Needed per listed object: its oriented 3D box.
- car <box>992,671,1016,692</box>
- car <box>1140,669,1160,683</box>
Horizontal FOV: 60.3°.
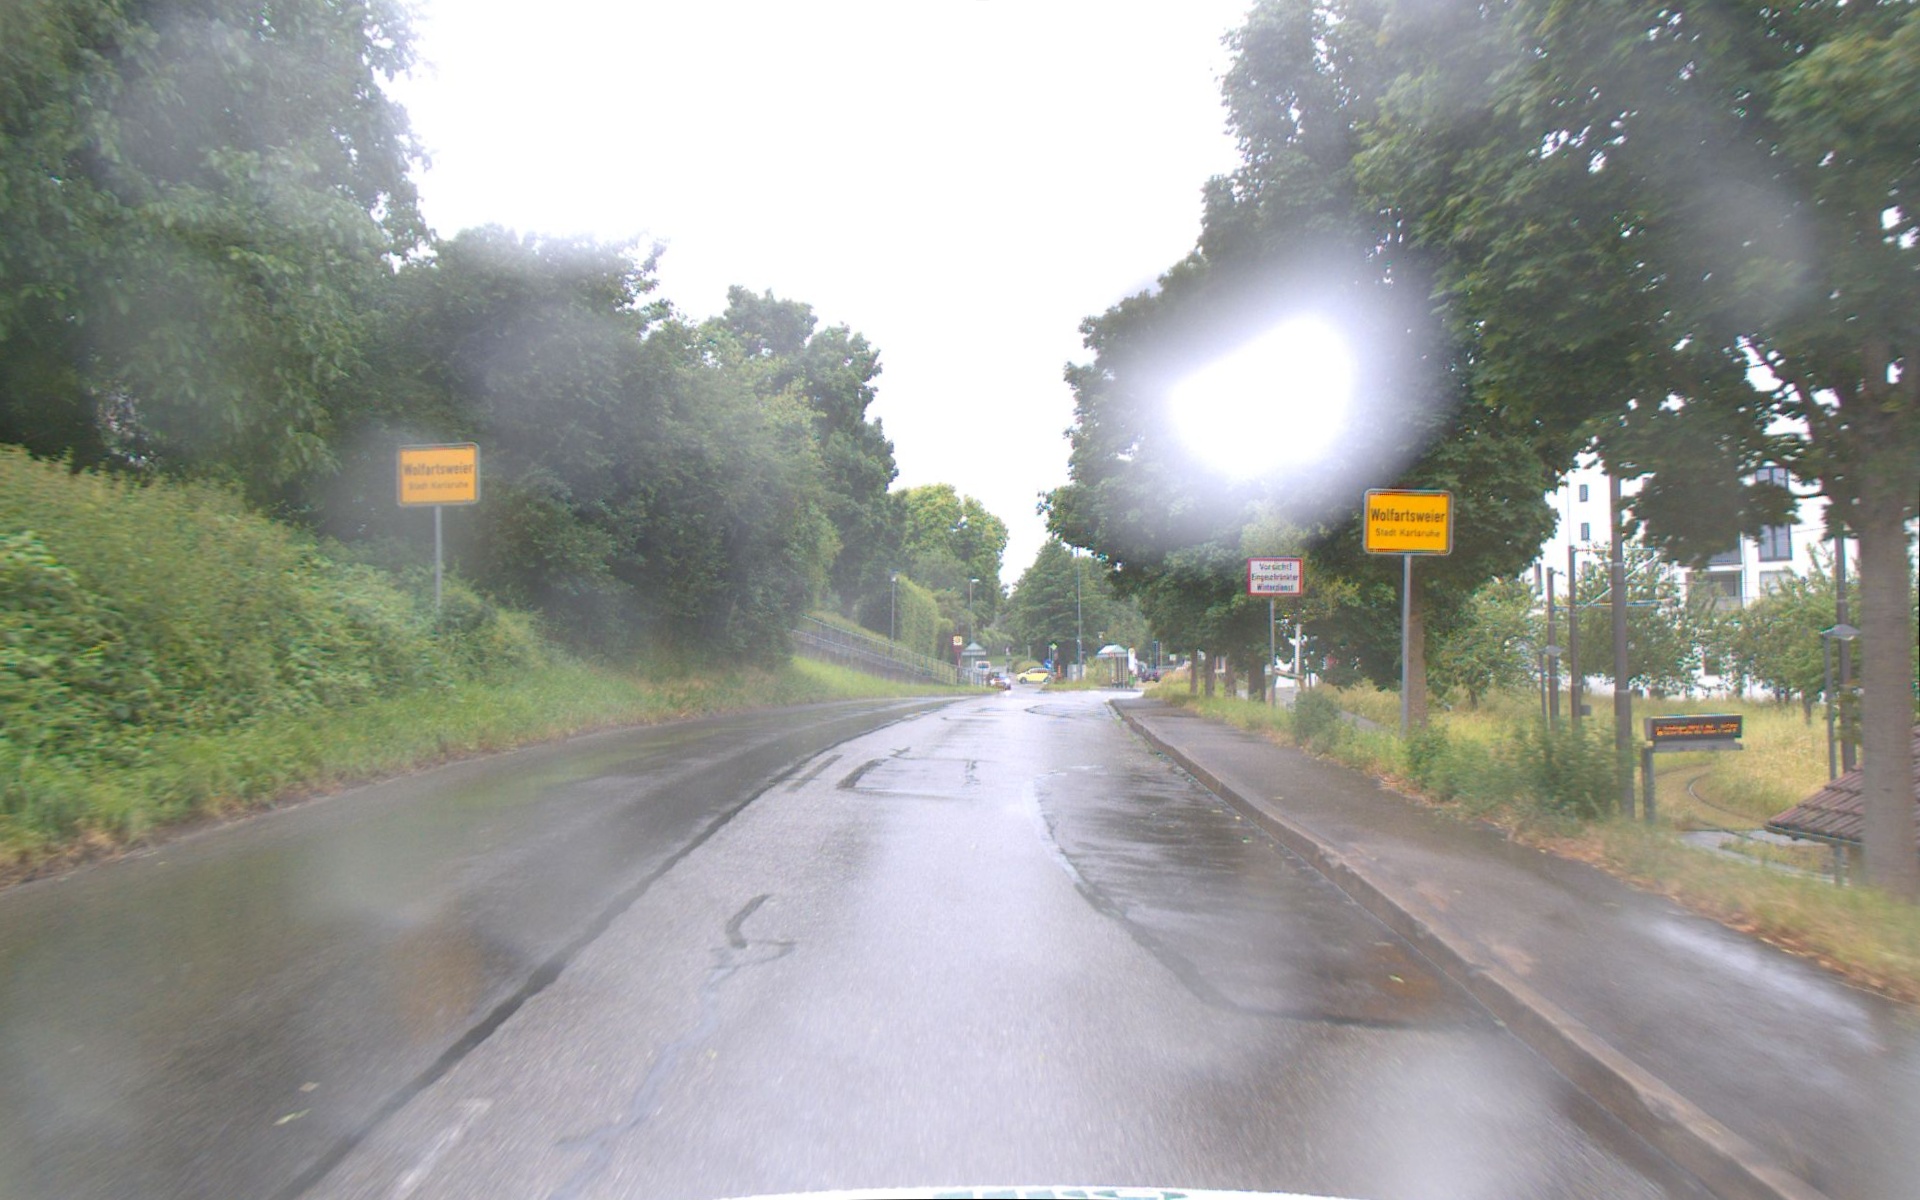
[{"bbox_3d":[3.507,6.579,133.139,1.725,1.529,4.139,-2,-3,-1],"label":"car"},{"bbox_3d":[21.279,8.549,185.617,1.654,1.463,3.609,-1,-1,-2],"label":"car"}]
